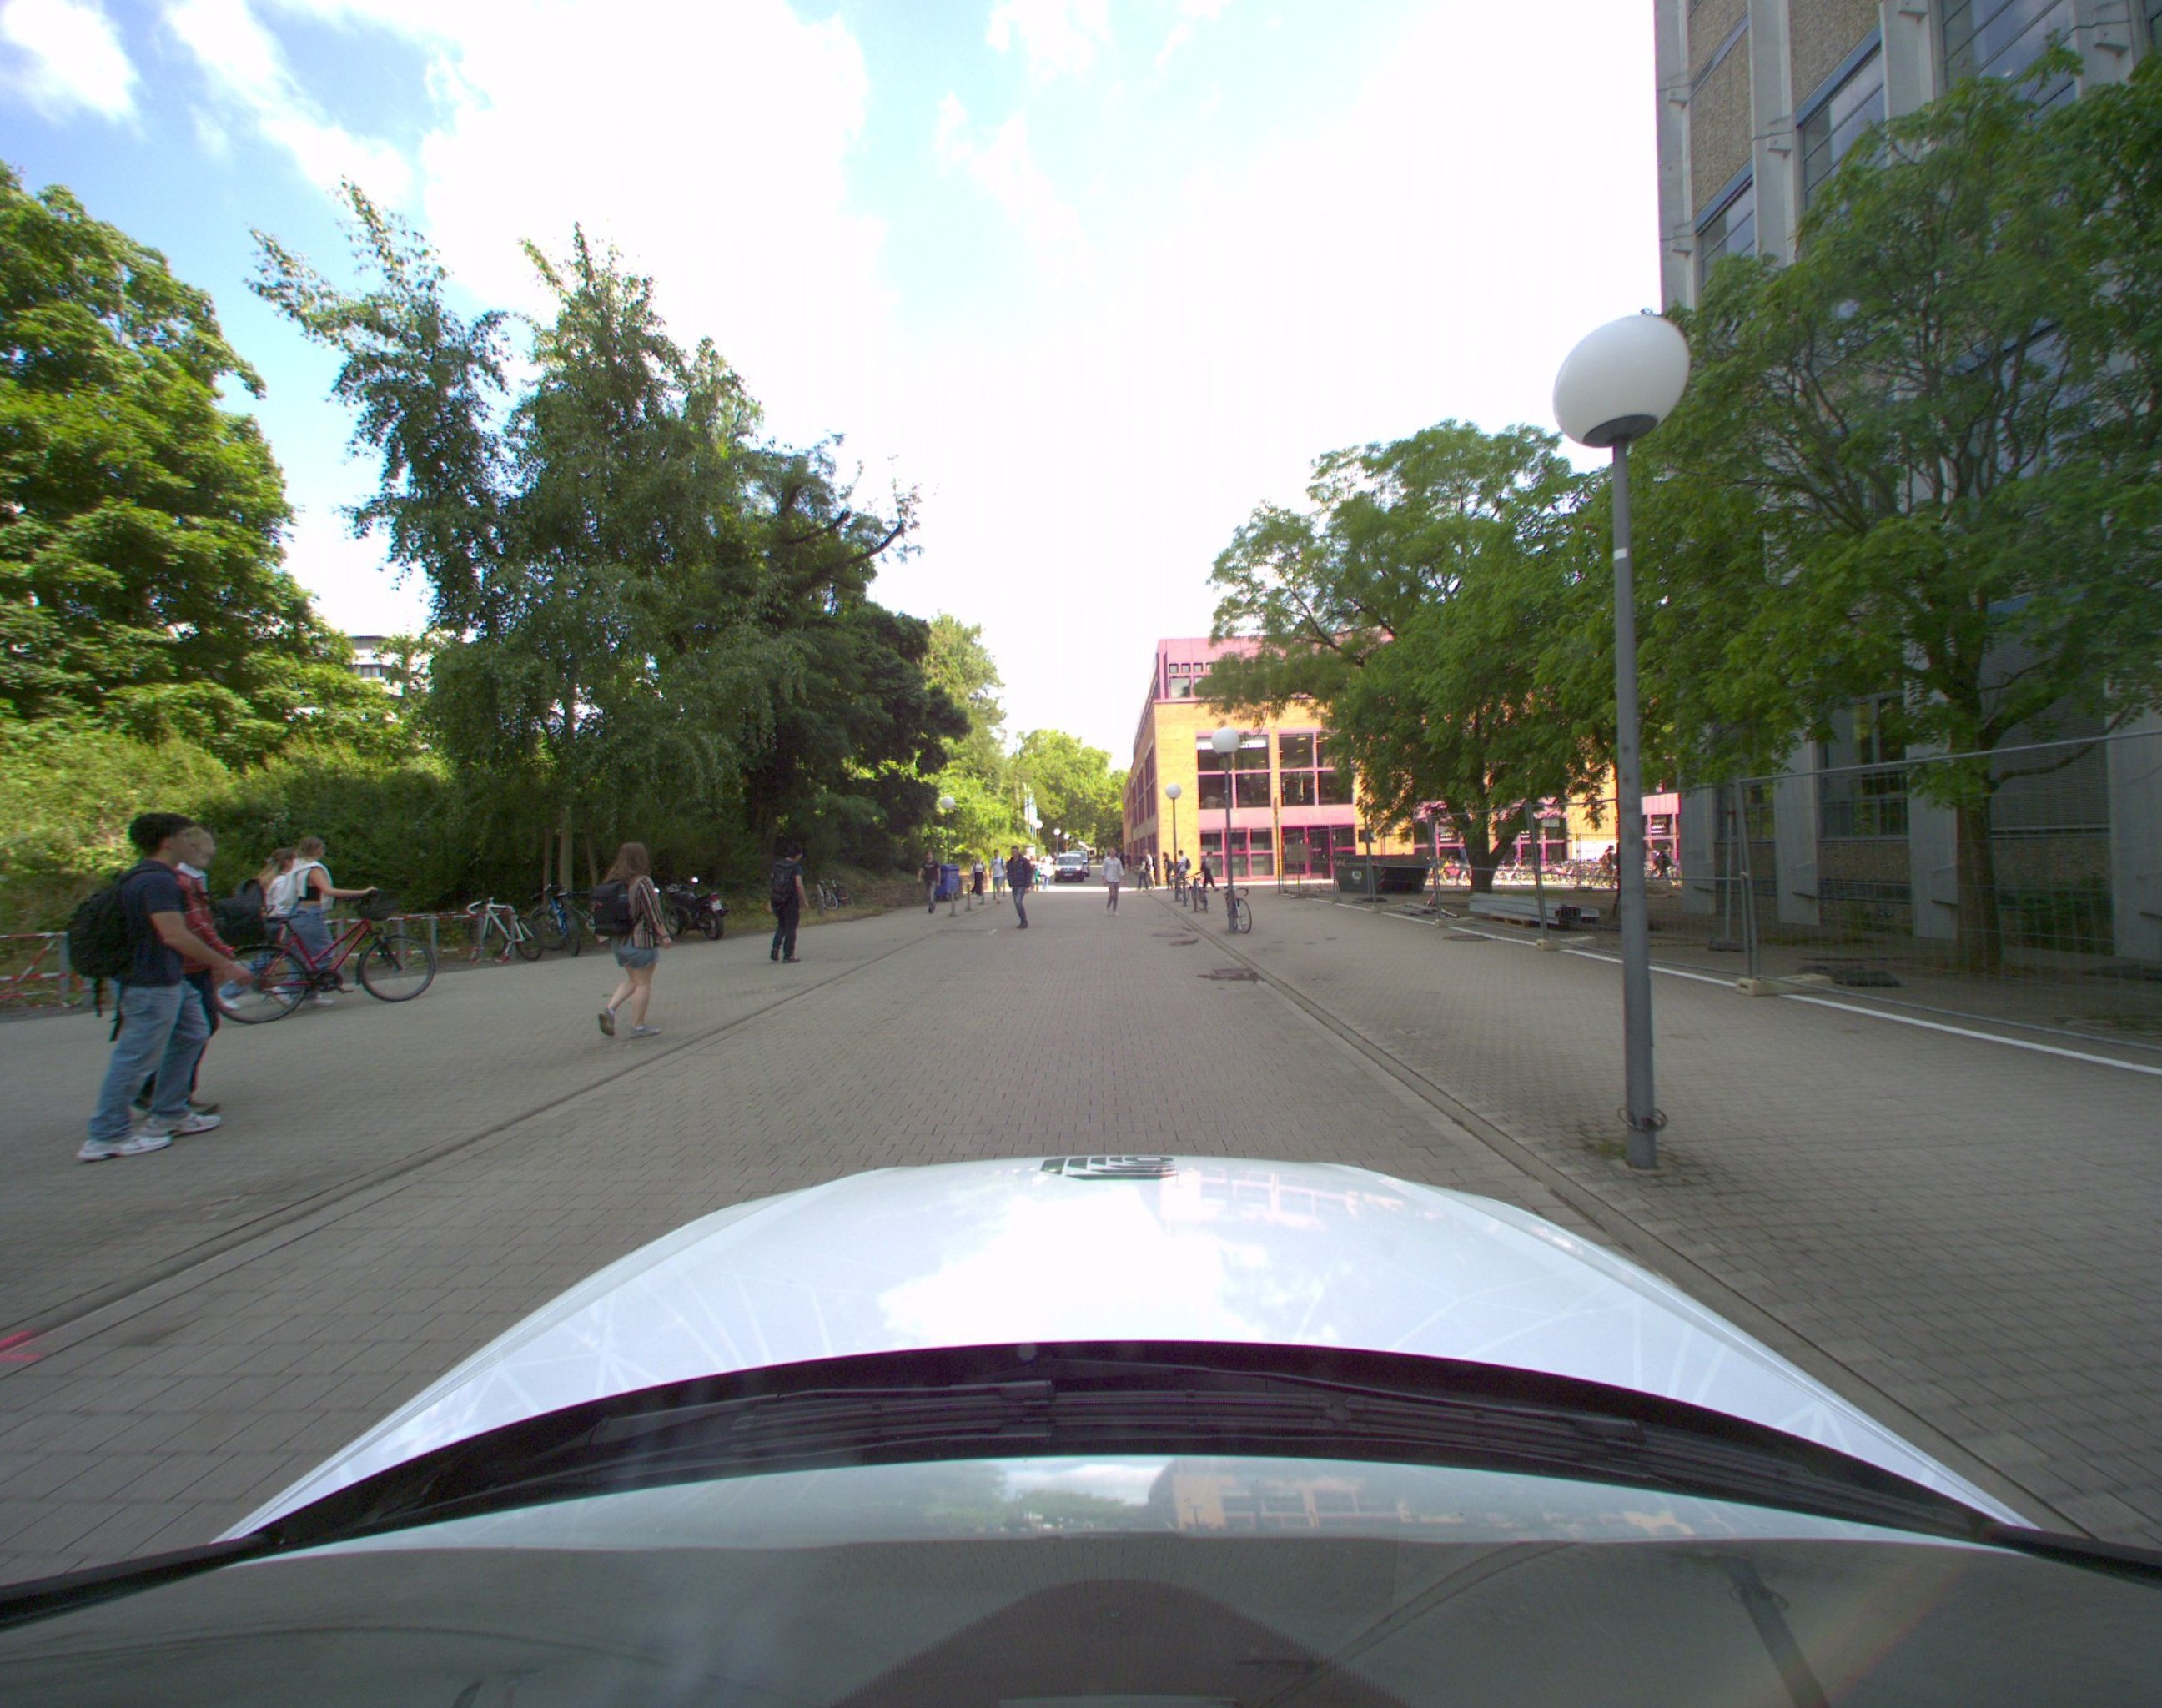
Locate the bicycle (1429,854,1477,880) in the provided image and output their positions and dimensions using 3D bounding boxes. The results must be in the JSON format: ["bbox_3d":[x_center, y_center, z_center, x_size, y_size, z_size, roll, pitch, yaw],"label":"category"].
[{"bbox_3d":[15.939,0.559,34.934,1.801,1.110,0.524,0,-1,4],"label":"bicycle"}]

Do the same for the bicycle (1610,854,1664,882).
[{"bbox_3d":[23.754,0.606,34.810,1.990,1.169,0.474,0,0,0],"label":"bicycle"}]

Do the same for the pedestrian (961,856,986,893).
[{"bbox_3d":[-4.732,0.911,35.844,0.906,1.611,0.574,-1,-1,30],"label":"pedestrian"}]

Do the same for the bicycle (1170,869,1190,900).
[{"bbox_3d":[3.322,1.022,27.428,0.449,0.962,1.740,-4,0,1],"label":"bicycle"}]

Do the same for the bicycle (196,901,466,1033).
[{"bbox_3d":[-7.473,1.066,8.241,0.535,1.047,1.921,-1,0,30],"label":"bicycle"}]

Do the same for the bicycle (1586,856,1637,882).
[{"bbox_3d":[23.758,0.661,36.495,1.990,1.169,0.474,0,0,0],"label":"bicycle"}]

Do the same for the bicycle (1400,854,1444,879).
[{"bbox_3d":[15.672,0.578,37.425,1.804,1.110,0.523,0,-1,-2],"label":"bicycle"}]

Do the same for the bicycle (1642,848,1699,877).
[{"bbox_3d":[23.944,0.342,33.091,1.990,1.169,0.474,0,0,0],"label":"bicycle"}]

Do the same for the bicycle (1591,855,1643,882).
[{"bbox_3d":[23.656,0.629,35.923,1.990,1.169,0.474,0,0,0],"label":"bicycle"}]

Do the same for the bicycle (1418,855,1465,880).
[{"bbox_3d":[15.748,0.593,35.598,1.803,1.110,0.524,0,-1,0],"label":"bicycle"}]

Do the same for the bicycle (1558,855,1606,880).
[{"bbox_3d":[23.662,0.639,38.454,1.990,1.169,0.474,0,0,-1],"label":"bicycle"}]

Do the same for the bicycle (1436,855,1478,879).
[{"bbox_3d":[17.884,0.618,38.751,1.803,1.110,0.473,0,-1,-5],"label":"bicycle"}]

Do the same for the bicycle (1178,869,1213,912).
[{"bbox_3d":[3.072,0.960,21.919,0.706,1.093,1.749,-1,0,1],"label":"bicycle"}]

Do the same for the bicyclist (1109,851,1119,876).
[{"bbox_3d":[2.288,0.645,56.842,0.585,1.716,0.665,-1,0,-2],"label":"bicyclist"}]

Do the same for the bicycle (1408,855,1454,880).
[{"bbox_3d":[15.678,0.600,36.484,1.801,1.110,0.524,0,-1,4],"label":"bicycle"}]

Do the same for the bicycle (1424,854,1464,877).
[{"bbox_3d":[17.832,0.576,40.059,1.803,1.110,0.473,0,-1,-5],"label":"bicycle"}]

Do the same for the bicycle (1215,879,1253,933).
[{"bbox_3d":[3.002,1.004,16.113,0.394,0.936,1.732,-3,0,1],"label":"bicycle"}]

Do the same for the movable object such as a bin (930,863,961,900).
[{"bbox_3d":[-5.099,1.007,30.714,0.705,1.336,1.243,1,0,11],"label":"movable object such as a bin"}]

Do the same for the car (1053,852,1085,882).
[{"bbox_3d":[-0.706,0.774,51.581,1.784,1.762,4.482,-2,0,1],"label":"car"}]

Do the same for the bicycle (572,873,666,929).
[{"bbox_3d":[-9.390,0.932,16.622,0.468,1.047,1.709,1,-1,23],"label":"bicycle"}]

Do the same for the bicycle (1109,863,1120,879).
[{"bbox_3d":[2.306,1.191,56.648,0.585,1.083,1.906,-1,0,-2],"label":"bicycle"}]

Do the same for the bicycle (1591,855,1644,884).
[{"bbox_3d":[21.820,0.618,33.151,1.798,1.169,0.475,0,0,4],"label":"bicycle"}]

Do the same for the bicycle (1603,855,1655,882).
[{"bbox_3d":[23.809,0.632,35.395,1.990,1.169,0.474,0,0,0],"label":"bicycle"}]

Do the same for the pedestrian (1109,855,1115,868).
[{"bbox_3d":[4.123,0.994,106.980,0.722,1.672,0.748,-2,-2,2],"label":"pedestrian"}]

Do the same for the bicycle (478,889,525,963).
[{"bbox_3d":[-9.143,1.091,12.831,0.476,1.047,1.680,0,-1,-40],"label":"bicycle"}]

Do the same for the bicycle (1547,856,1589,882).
[{"bbox_3d":[21.645,0.668,36.184,1.809,1.169,0.471,0,0,-16],"label":"bicycle"}]

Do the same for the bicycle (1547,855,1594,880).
[{"bbox_3d":[23.694,0.652,39.426,1.990,1.169,0.474,0,0,-1],"label":"bicycle"}]

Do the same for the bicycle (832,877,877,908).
[{"bbox_3d":[-6.773,1.137,24.441,0.418,0.910,1.747,-1,-2,16],"label":"bicycle"}]

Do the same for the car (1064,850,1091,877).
[{"bbox_3d":[-0.228,0.728,63.129,1.877,1.974,5.216,-1,0,1],"label":"car"}]

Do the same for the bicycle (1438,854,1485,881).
[{"bbox_3d":[15.784,0.539,33.813,1.686,1.110,0.475,0,-1,4],"label":"bicycle"}]

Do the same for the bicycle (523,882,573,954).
[{"bbox_3d":[-8.731,1.018,13.313,0.476,1.047,1.680,2,-1,-40],"label":"bicycle"}]

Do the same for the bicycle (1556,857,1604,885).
[{"bbox_3d":[21.476,0.729,35.066,1.800,1.169,0.474,0,0,-1],"label":"bicycle"}]
